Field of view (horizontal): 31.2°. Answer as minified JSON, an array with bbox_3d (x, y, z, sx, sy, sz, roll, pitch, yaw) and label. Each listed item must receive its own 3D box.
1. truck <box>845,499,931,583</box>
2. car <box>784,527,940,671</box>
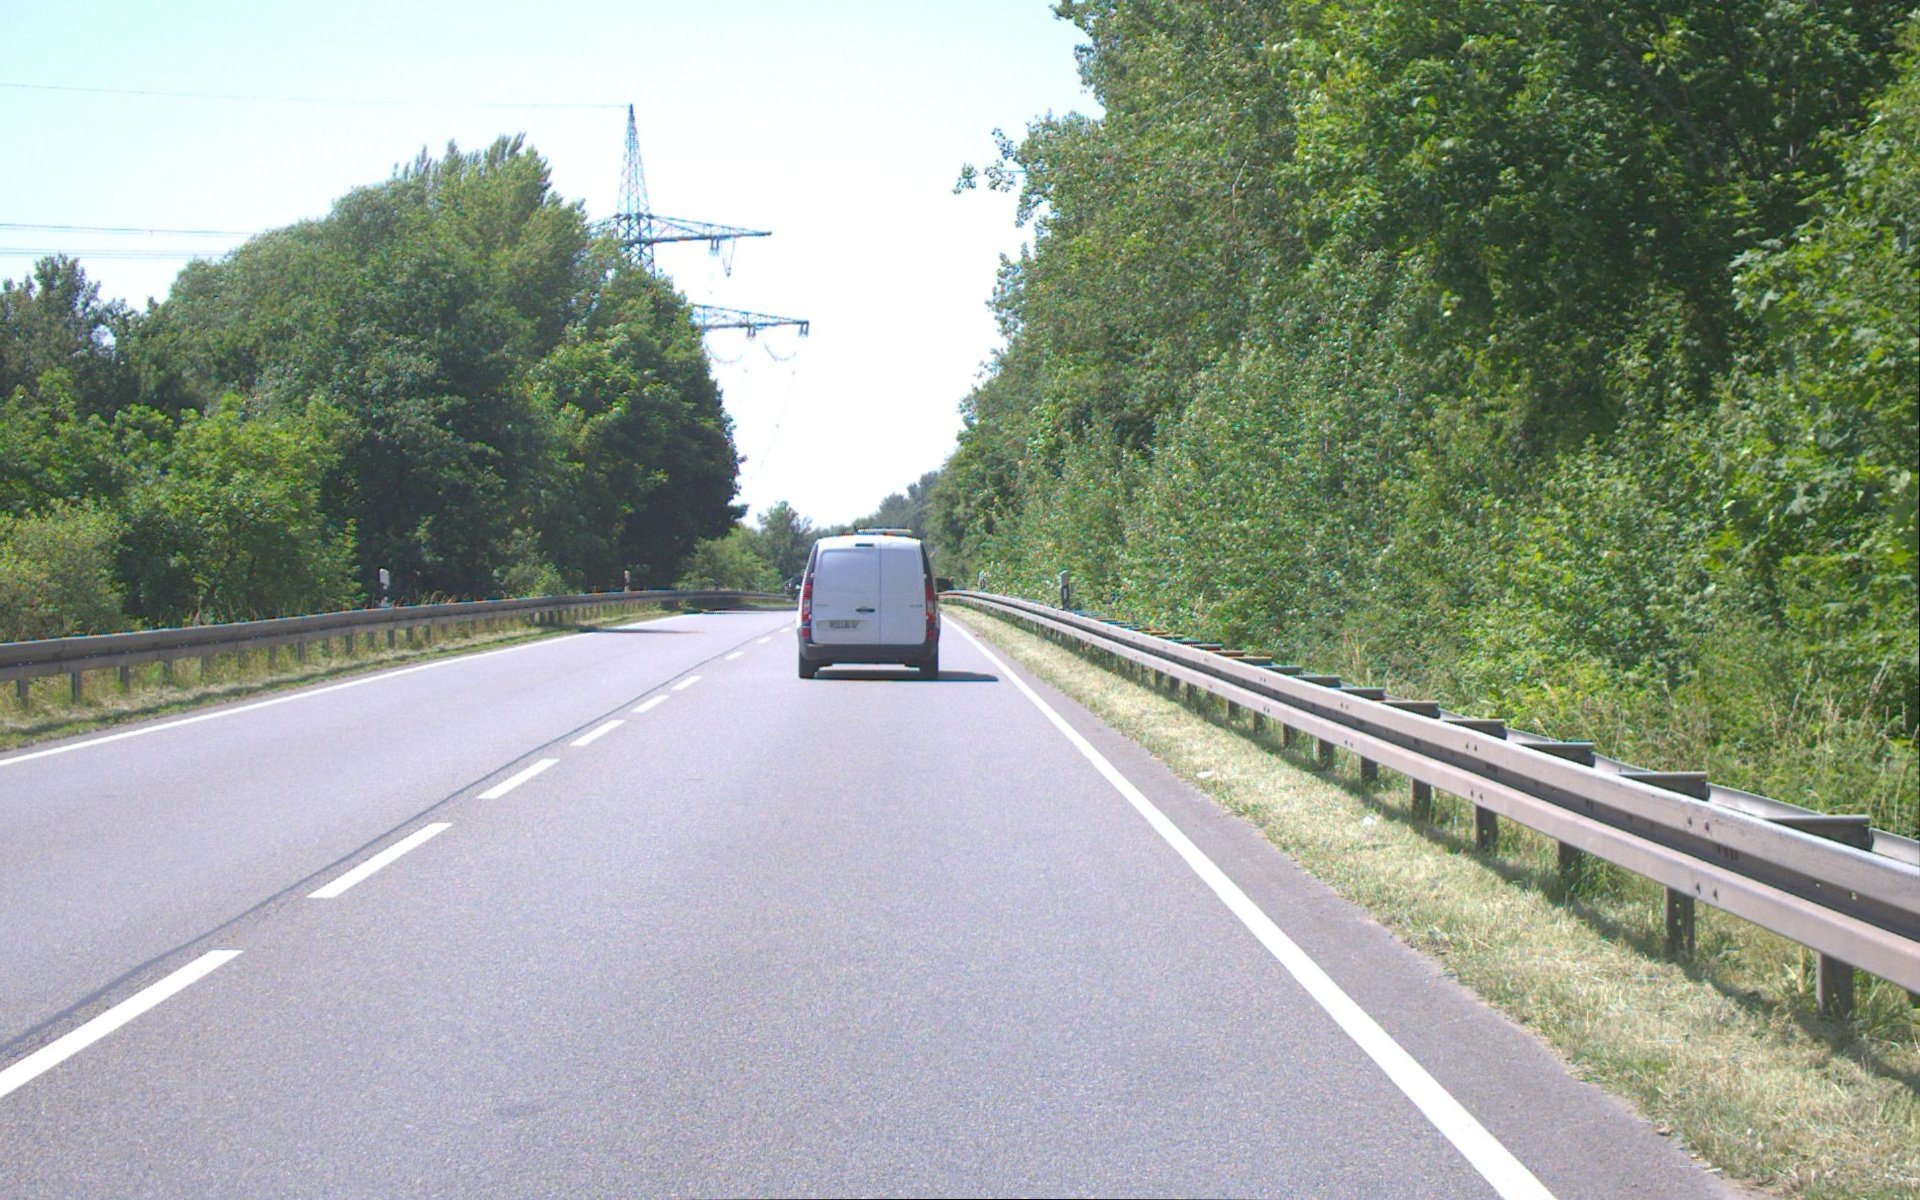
[{"bbox_3d":[-2.992,-2.432,142.103,3.296,3.161,14.405,2,1,-1],"label":"truck"},{"bbox_3d":[-1.241,-0.042,43.806,1.875,1.735,4.000,1,1,-1],"label":"car"}]
